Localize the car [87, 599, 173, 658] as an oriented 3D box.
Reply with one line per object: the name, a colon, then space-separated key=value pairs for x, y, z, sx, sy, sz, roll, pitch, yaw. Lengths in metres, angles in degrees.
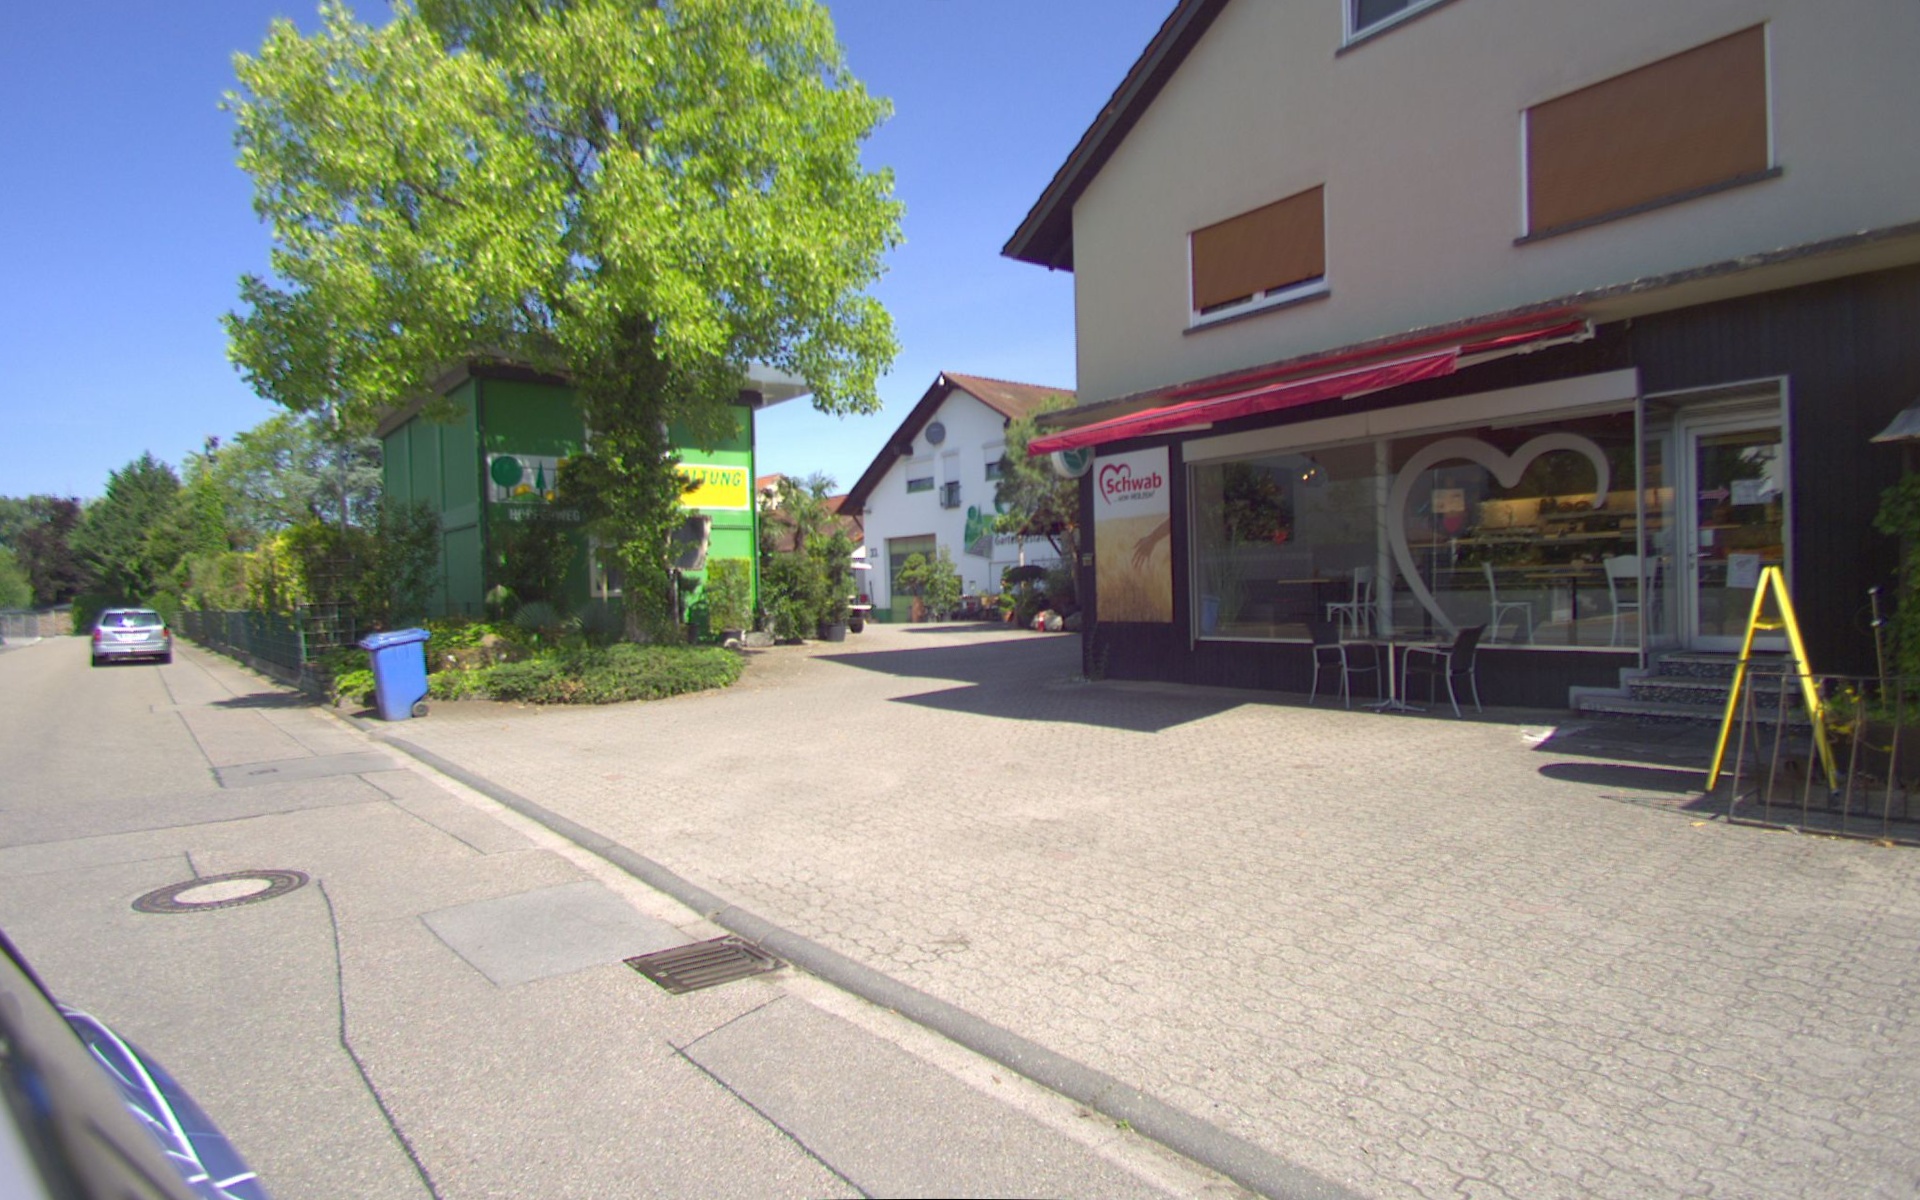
car: x=-22.913 y=0.757 z=27.960 sx=1.730 sy=1.498 sz=4.383 roll=0 pitch=-1 yaw=-40

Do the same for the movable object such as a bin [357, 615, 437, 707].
movable object such as a bin: x=-7.079 y=0.744 z=12.726 sx=0.722 sy=1.062 sz=0.613 roll=-4 pitch=2 yaw=-39

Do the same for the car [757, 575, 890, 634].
car: x=-3.928 y=0.103 z=28.637 sx=1.833 sy=1.458 sz=4.007 roll=-5 pitch=3 yaw=-39
